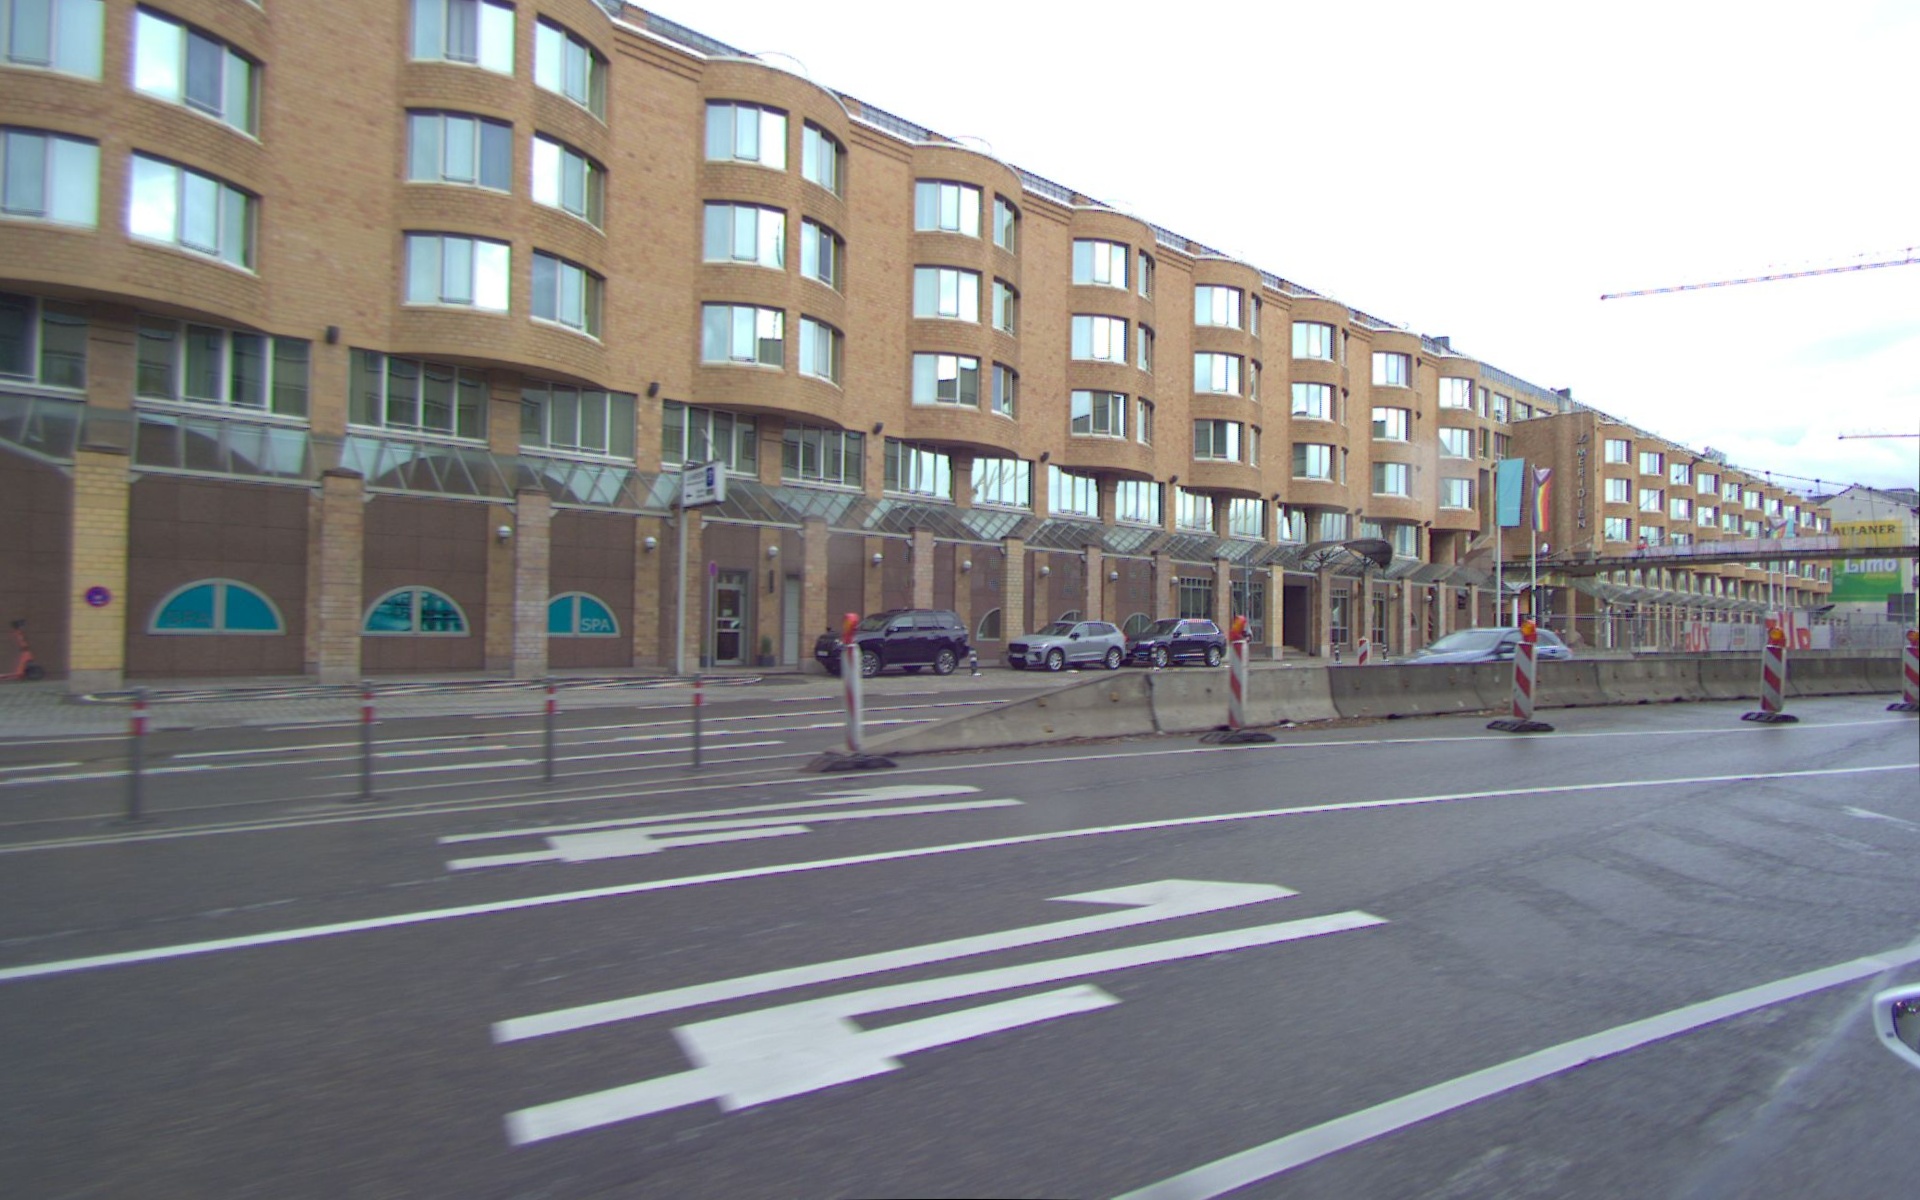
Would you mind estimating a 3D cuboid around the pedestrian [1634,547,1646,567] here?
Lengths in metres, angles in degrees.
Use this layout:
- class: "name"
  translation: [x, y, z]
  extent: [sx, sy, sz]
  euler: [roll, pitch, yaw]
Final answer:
- class: "pedestrian"
  translation: [43.066, -2.718, 63.640]
  extent: [0.479, 1.210, 0.472]
  euler: [1, -2, -35]

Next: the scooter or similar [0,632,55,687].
- class: "scooter or similar"
  translation: [-18.853, 1.172, 20.091]
  extent: [0.443, 1.077, 1.040]
  euler: [-1, -2, 40]

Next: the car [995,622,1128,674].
- class: "car"
  translation: [3.467, 1.562, 33.840]
  extent: [4.505, 1.615, 1.976]
  euler: [1, -2, -41]

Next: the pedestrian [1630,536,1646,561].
- class: "pedestrian"
  translation: [43.011, -3.267, 63.708]
  extent: [0.612, 1.471, 0.616]
  euler: [1, -2, -35]

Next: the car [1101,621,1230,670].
- class: "car"
  translation: [7.693, 1.657, 37.355]
  extent: [5.006, 1.713, 1.978]
  euler: [1, -2, -39]

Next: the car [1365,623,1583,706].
- class: "car"
  translation: [10.248, 1.219, 19.987]
  extent: [4.180, 1.478, 1.984]
  euler: [1, -2, -31]

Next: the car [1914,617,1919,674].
- class: "car"
  translation: [34.814, 1.565, 34.482]
  extent: [4.818, 1.910, 1.982]
  euler: [1, -2, -33]

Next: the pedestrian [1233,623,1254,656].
- class: "pedestrian"
  translation: [12.918, 1.791, 45.768]
  extent: [0.729, 1.471, 0.612]
  euler: [1, -3, -36]

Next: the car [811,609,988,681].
- class: "car"
  translation: [-1.675, 1.261, 29.014]
  extent: [4.975, 1.911, 1.976]
  euler: [1, -2, -41]
